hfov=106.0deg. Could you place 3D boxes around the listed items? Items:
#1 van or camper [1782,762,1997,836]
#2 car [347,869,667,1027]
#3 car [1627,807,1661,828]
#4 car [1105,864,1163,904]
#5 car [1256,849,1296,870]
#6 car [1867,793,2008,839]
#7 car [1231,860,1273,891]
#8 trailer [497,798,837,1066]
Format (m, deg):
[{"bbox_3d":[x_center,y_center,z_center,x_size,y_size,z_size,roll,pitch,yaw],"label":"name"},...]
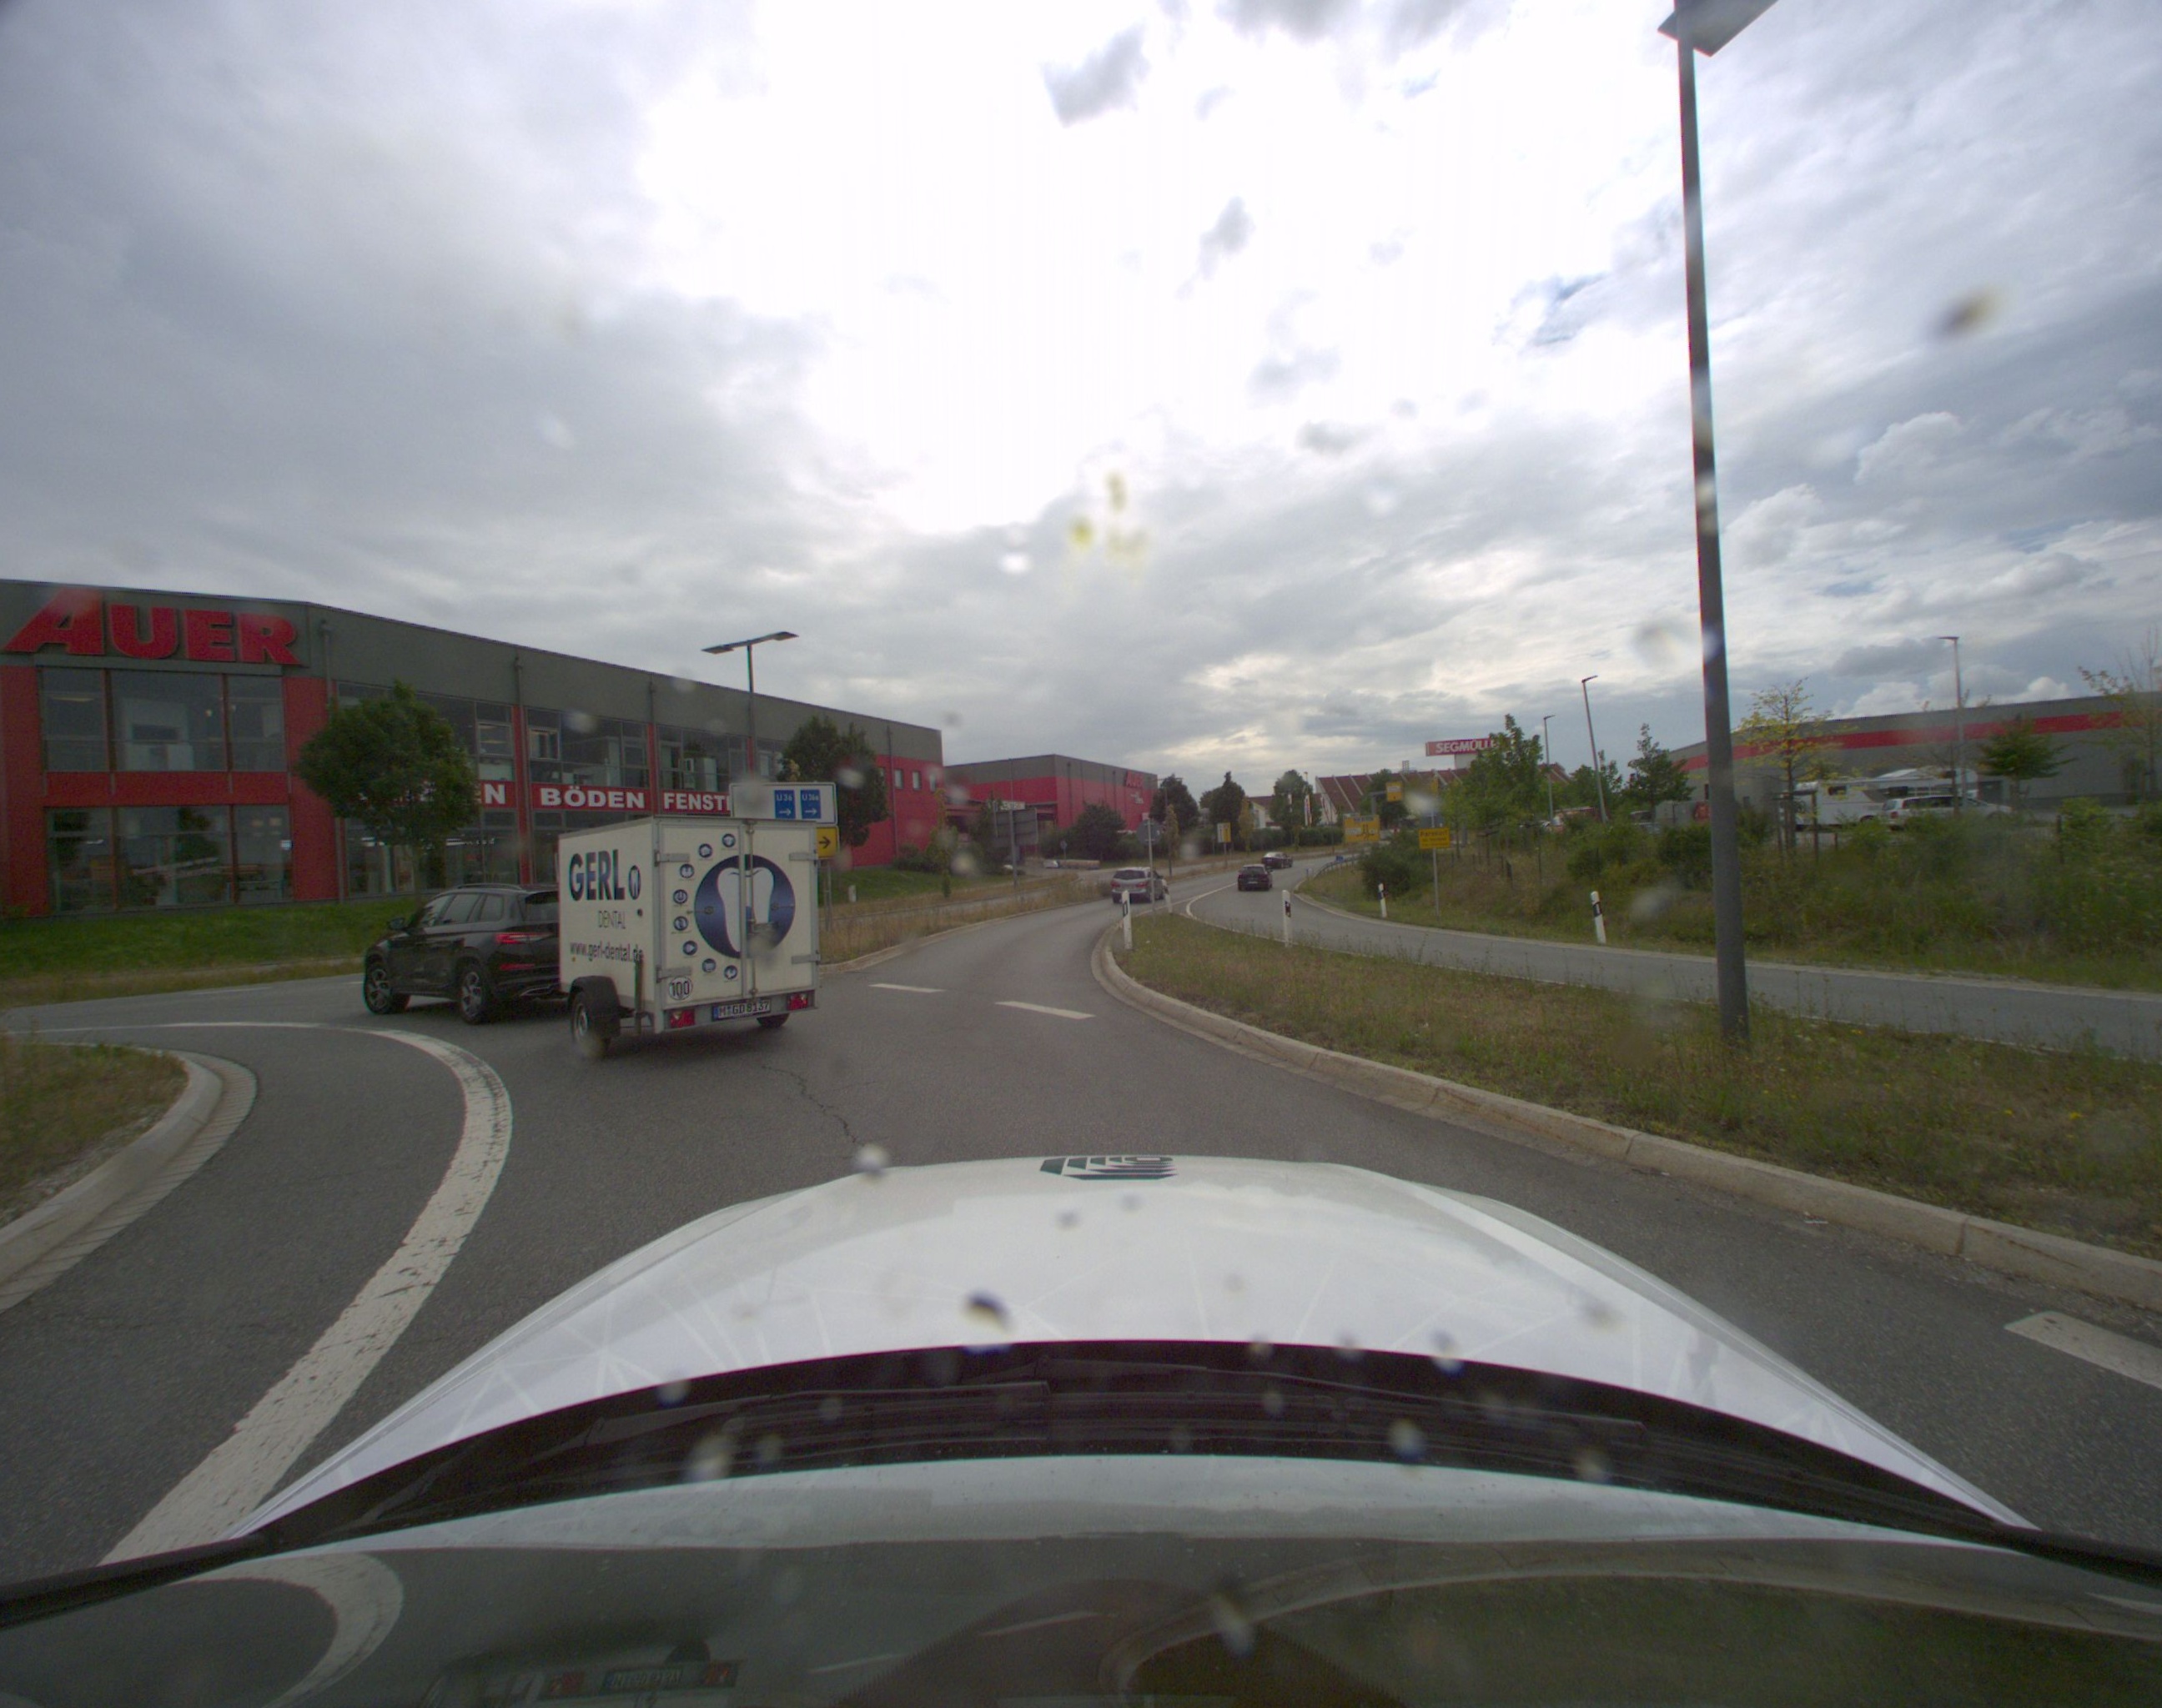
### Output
[{"bbox_3d":[42.686,-2.822,43.347,7.647,3.178,2.506,-4,1,21],"label":"van or camper"},{"bbox_3d":[-7.740,1.183,10.853,4.556,1.670,1.828,-4,-2,32],"label":"car"},{"bbox_3d":[53.475,-3.431,77.405,1.685,1.811,3.992,-6,-1,21],"label":"car"},{"bbox_3d":[2.510,1.350,37.470,1.753,1.616,3.938,-2,-1,16],"label":"car"},{"bbox_3d":[16.276,0.419,67.801,1.887,1.618,4.026,-3,-1,33],"label":"car"},{"bbox_3d":[39.244,-1.696,37.444,4.011,1.720,1.790,-4,-1,26],"label":"car"},{"bbox_3d":[9.671,1.174,45.926,1.854,1.605,3.753,-2,0,19],"label":"car"},{"bbox_3d":[-4.440,0.659,8.423,4.093,2.091,1.823,-3,-1,43],"label":"trailer"}]
